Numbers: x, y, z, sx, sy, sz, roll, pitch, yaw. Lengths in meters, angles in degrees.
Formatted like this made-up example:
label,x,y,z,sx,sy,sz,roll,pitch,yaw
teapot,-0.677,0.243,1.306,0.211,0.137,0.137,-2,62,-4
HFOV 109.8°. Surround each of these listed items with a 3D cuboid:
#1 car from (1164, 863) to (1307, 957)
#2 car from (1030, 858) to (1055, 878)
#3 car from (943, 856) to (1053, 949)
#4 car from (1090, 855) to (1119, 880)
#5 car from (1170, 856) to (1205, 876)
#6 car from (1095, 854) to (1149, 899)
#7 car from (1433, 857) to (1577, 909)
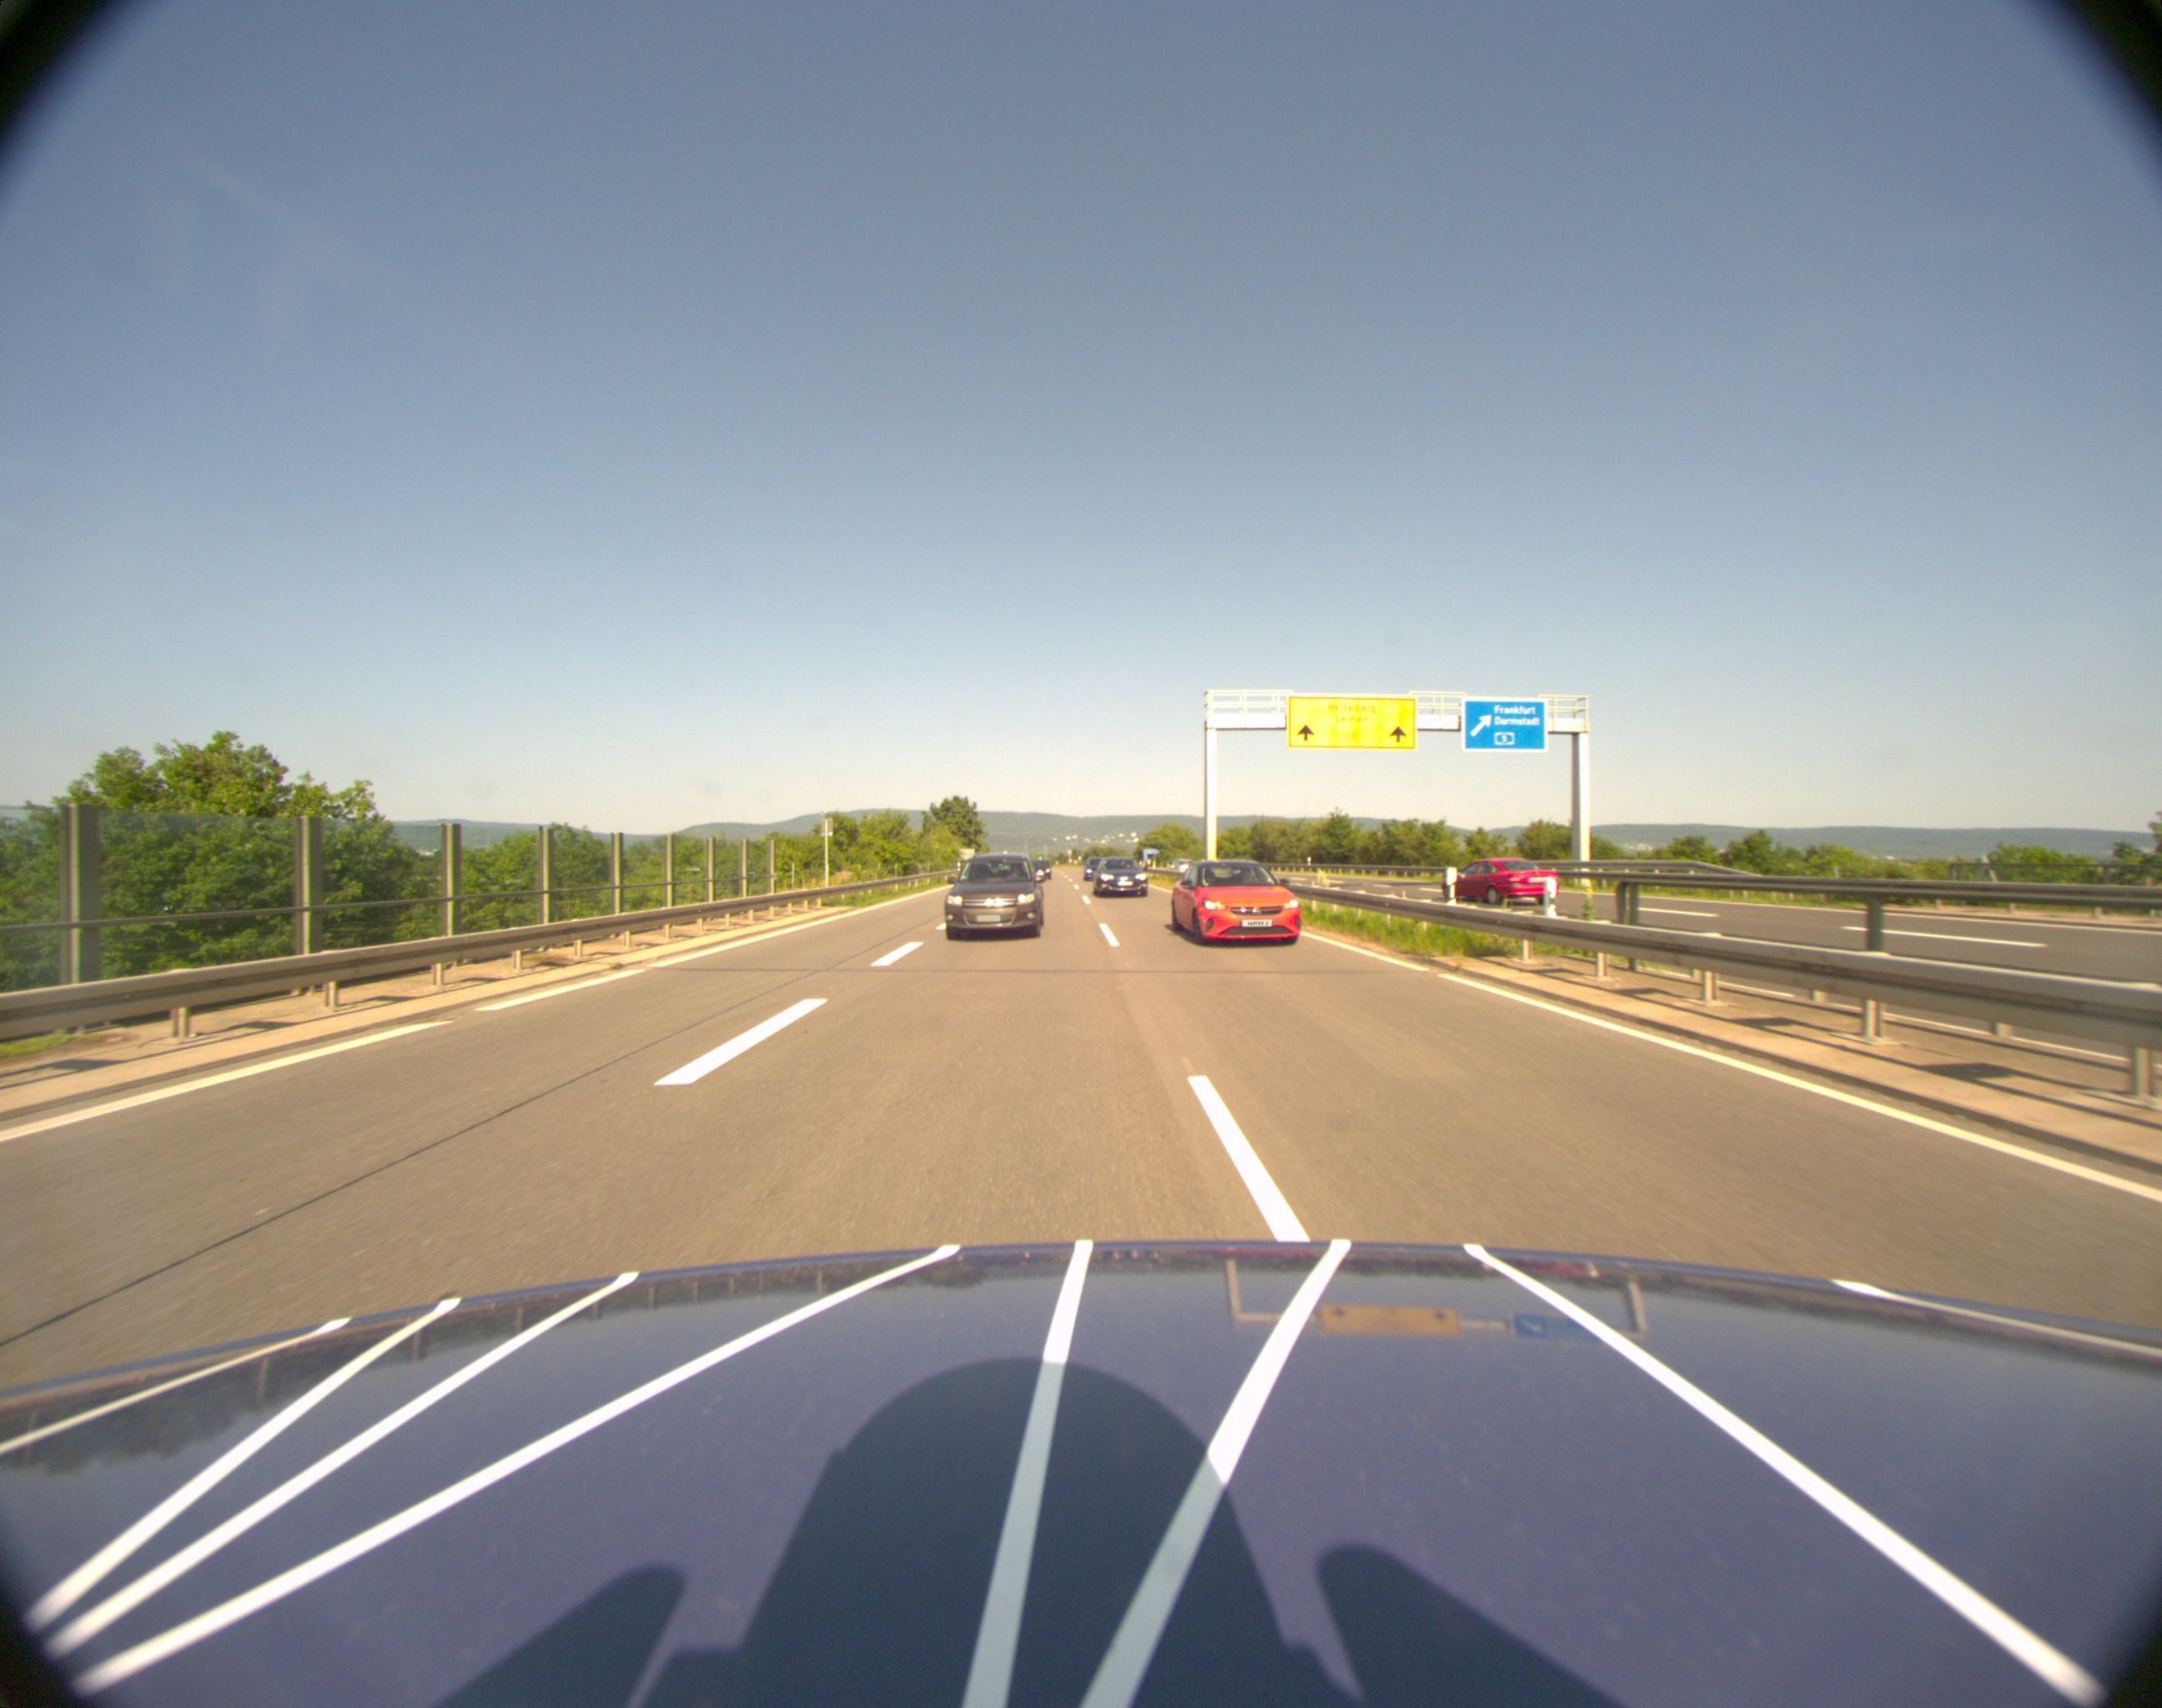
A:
label,x,y,z,sx,sy,sz,roll,pitch,yaw
car,2.656,0.898,14.066,1.713,1.428,4.411,0,0,0
car,-2.688,0.977,54.120,1.601,1.241,3.999,-2,0,-1
car,-1.589,0.890,15.923,1.790,1.637,4.148,-1,0,0
car,1.477,0.822,48.587,1.652,1.403,3.775,-2,1,0
car,8.105,0.892,58.027,1.879,1.430,4.501,-2,0,-2
car,1.473,0.817,28.953,1.788,1.524,4.375,-2,-1,0
car,13.082,0.840,23.838,1.829,1.420,4.530,-1,0,-2
